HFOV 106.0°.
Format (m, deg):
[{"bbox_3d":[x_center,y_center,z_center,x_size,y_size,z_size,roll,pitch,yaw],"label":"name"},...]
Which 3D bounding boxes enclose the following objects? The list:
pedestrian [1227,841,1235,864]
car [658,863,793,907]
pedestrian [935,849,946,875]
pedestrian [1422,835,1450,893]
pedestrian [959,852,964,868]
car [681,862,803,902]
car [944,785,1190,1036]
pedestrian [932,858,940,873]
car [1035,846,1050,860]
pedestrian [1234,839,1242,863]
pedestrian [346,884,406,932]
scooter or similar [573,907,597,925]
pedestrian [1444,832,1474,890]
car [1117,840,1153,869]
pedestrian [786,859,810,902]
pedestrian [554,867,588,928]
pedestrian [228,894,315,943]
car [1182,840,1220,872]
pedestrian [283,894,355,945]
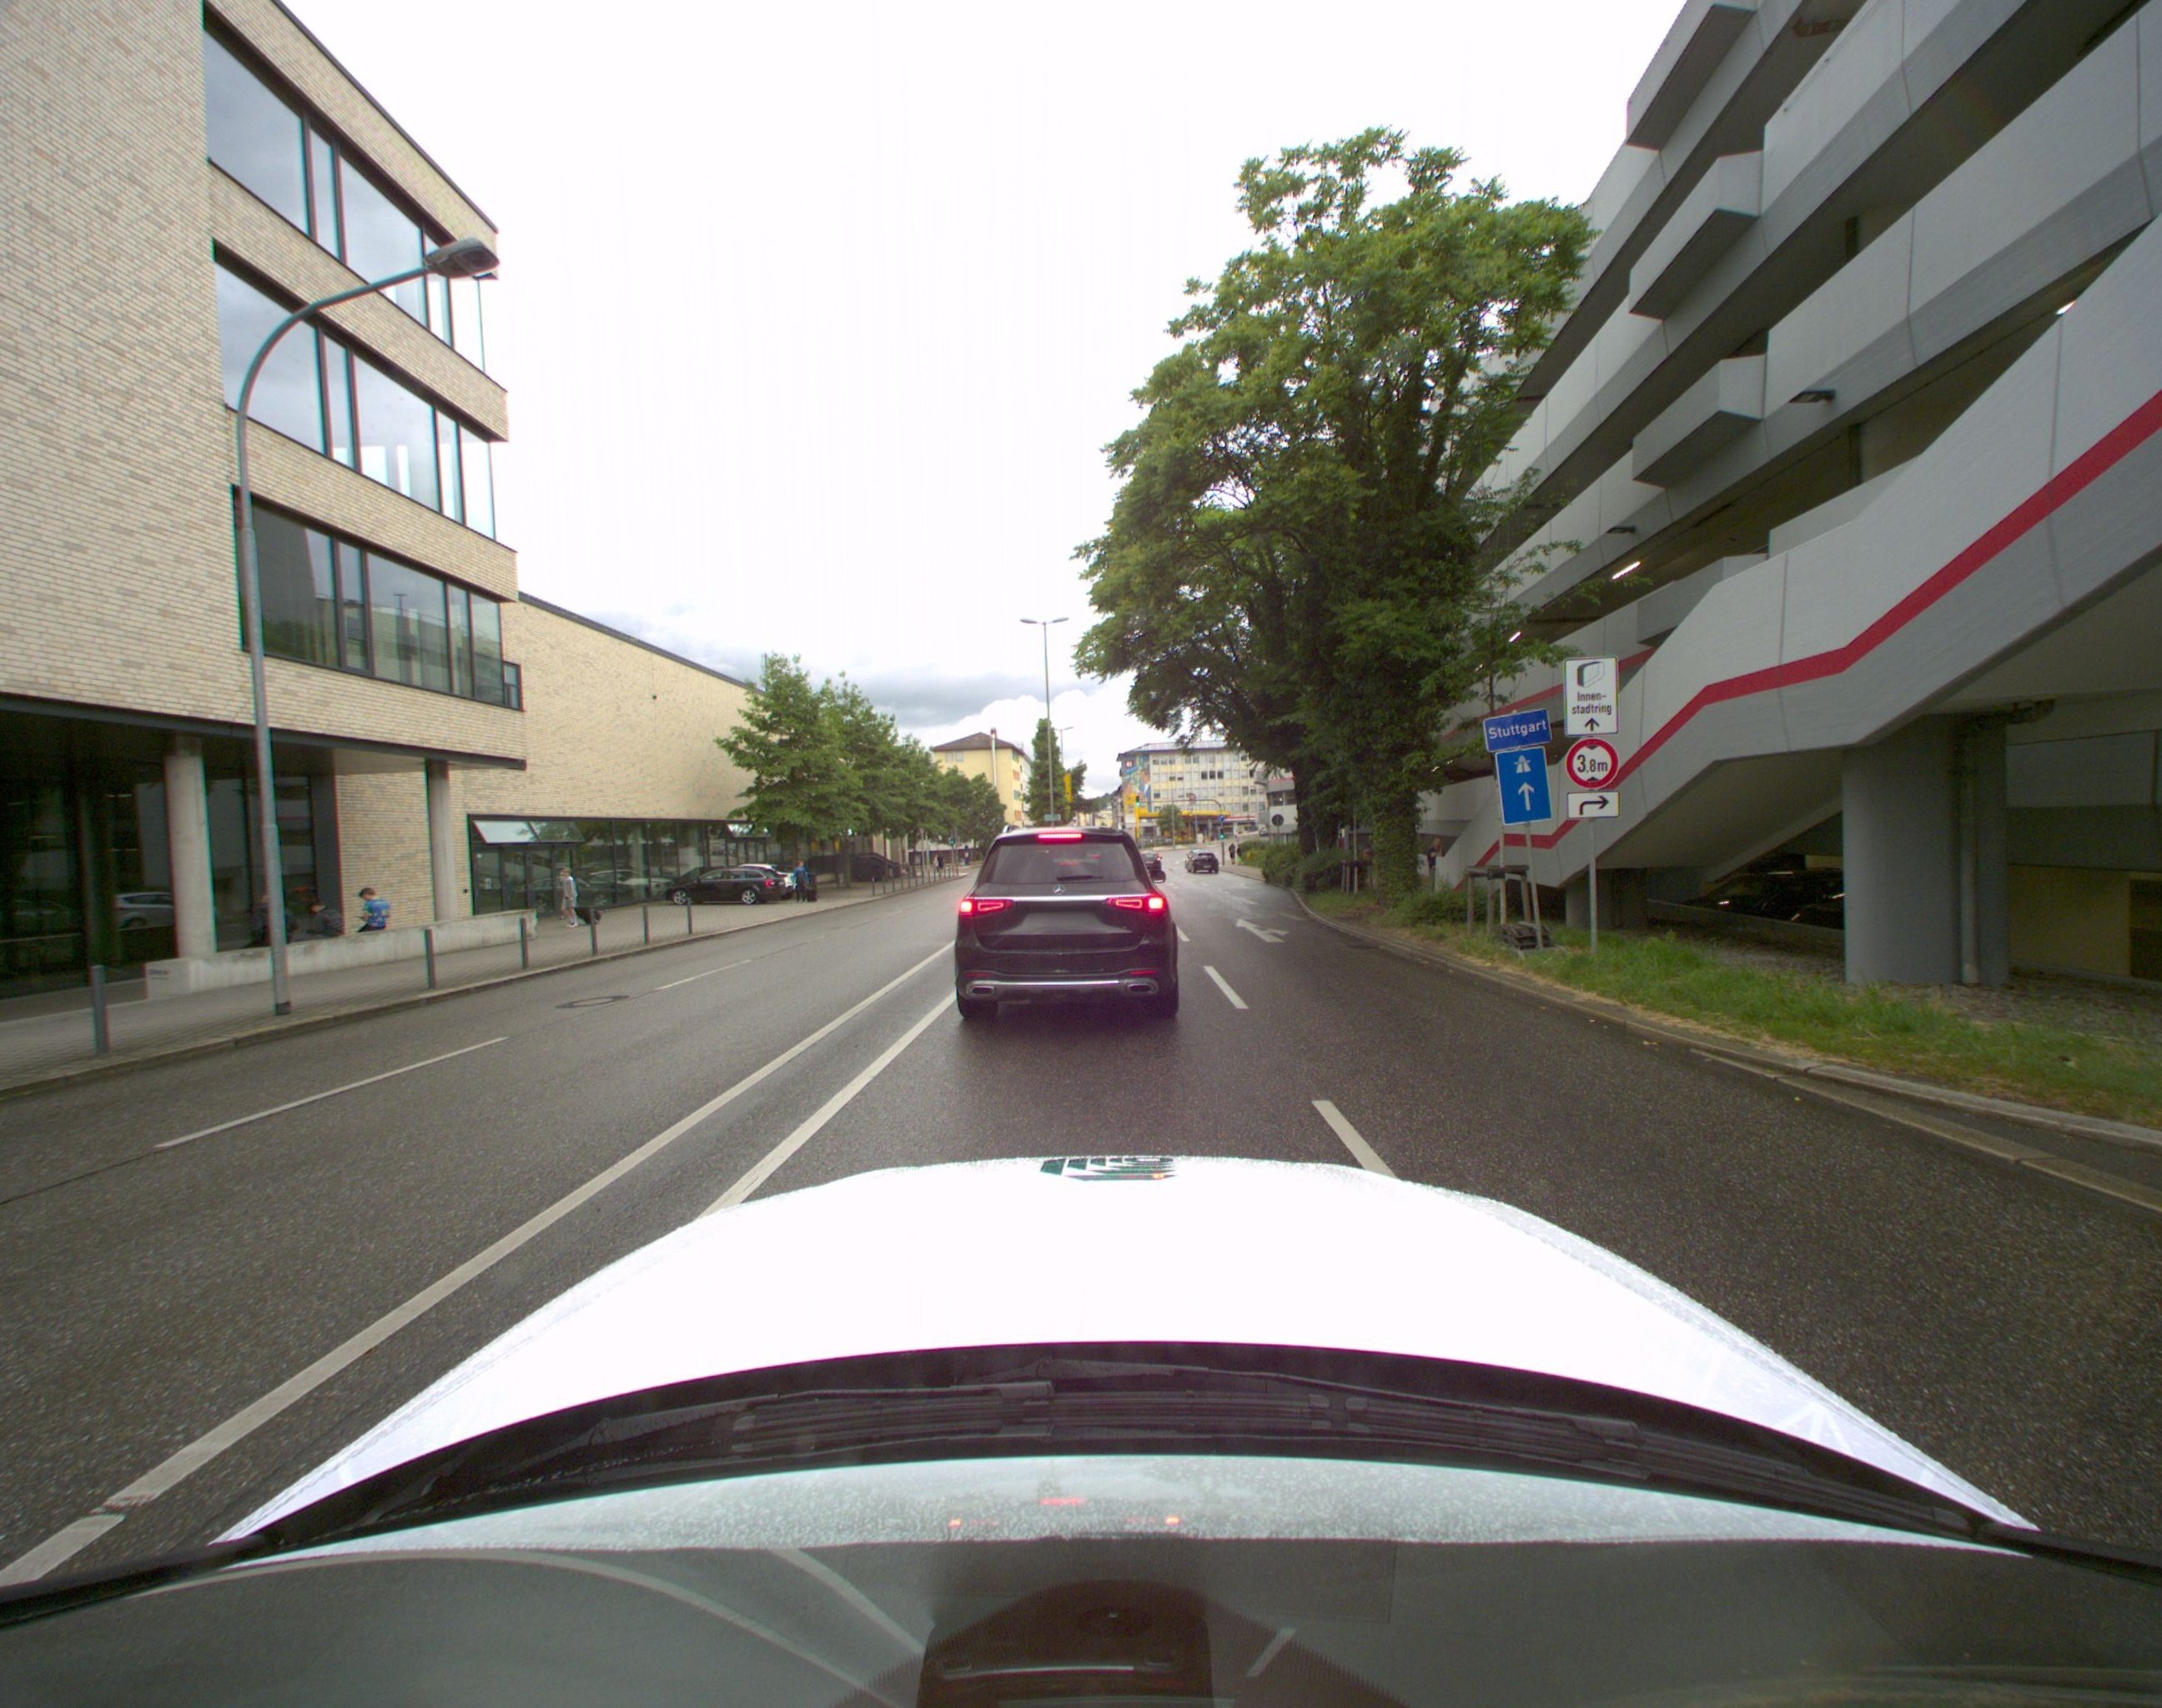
[{"bbox_3d":[12.758,-0.138,69.083,0.617,1.935,0.611,0,-1,6],"label":"pedestrian"},{"bbox_3d":[-14.127,1.195,32.597,4.461,1.587,1.997,-1,0,-5],"label":"car"},{"bbox_3d":[-11.004,0.598,63.797,0.586,2.013,0.749,-3,0,0],"label":"pedestrian"},{"bbox_3d":[9.410,0.261,21.606,0.548,1.532,0.489,0,-1,8],"label":"pedestrian"},{"bbox_3d":[-12.518,0.661,85.571,0.398,1.644,0.567,0,-1,2],"label":"pedestrian"},{"bbox_3d":[-14.610,1.192,35.328,4.407,1.574,1.998,-1,1,-4],"label":"car"},{"bbox_3d":[-0.093,0.475,8.595,1.987,2.014,4.000,0,-1,0],"label":"car"},{"bbox_3d":[-13.931,1.076,78.345,0.709,1.462,0.598,0,-1,0],"label":"pedestrian"},{"bbox_3d":[-5.448,-0.144,115.851,1.987,1.875,5.141,0,-1,0],"label":"car"},{"bbox_3d":[12.572,-0.213,65.260,0.518,1.911,0.556,0,-1,1],"label":"pedestrian"},{"bbox_3d":[-13.476,1.020,15.578,0.680,0.886,0.523,0,-1,-5],"label":"pedestrian"},{"bbox_3d":[-14.446,1.806,23.728,0.279,0.501,0.616,0,-1,3],"label":"scooter or similar"},{"bbox_3d":[9.995,0.187,21.532,0.579,1.501,0.505,0,-1,7],"label":"pedestrian"},{"bbox_3d":[3.787,0.056,57.487,1.990,2.014,3.993,0,-1,-4],"label":"car"},{"bbox_3d":[-11.484,1.065,33.092,0.686,1.725,0.754,0,1,0],"label":"pedestrian"},{"bbox_3d":[-14.515,1.223,23.181,0.673,1.697,0.479,0,0,1],"label":"pedestrian"},{"bbox_3d":[-13.471,1.080,13.572,0.595,0.786,0.760,0,-7,1],"label":"pedestrian"},{"bbox_3d":[8.077,0.107,55.095,1.987,2.013,3.999,-2,0,0],"label":"car"},{"bbox_3d":[-13.525,1.156,14.475,0.584,0.845,0.727,-1,-1,1],"label":"pedestrian"}]
